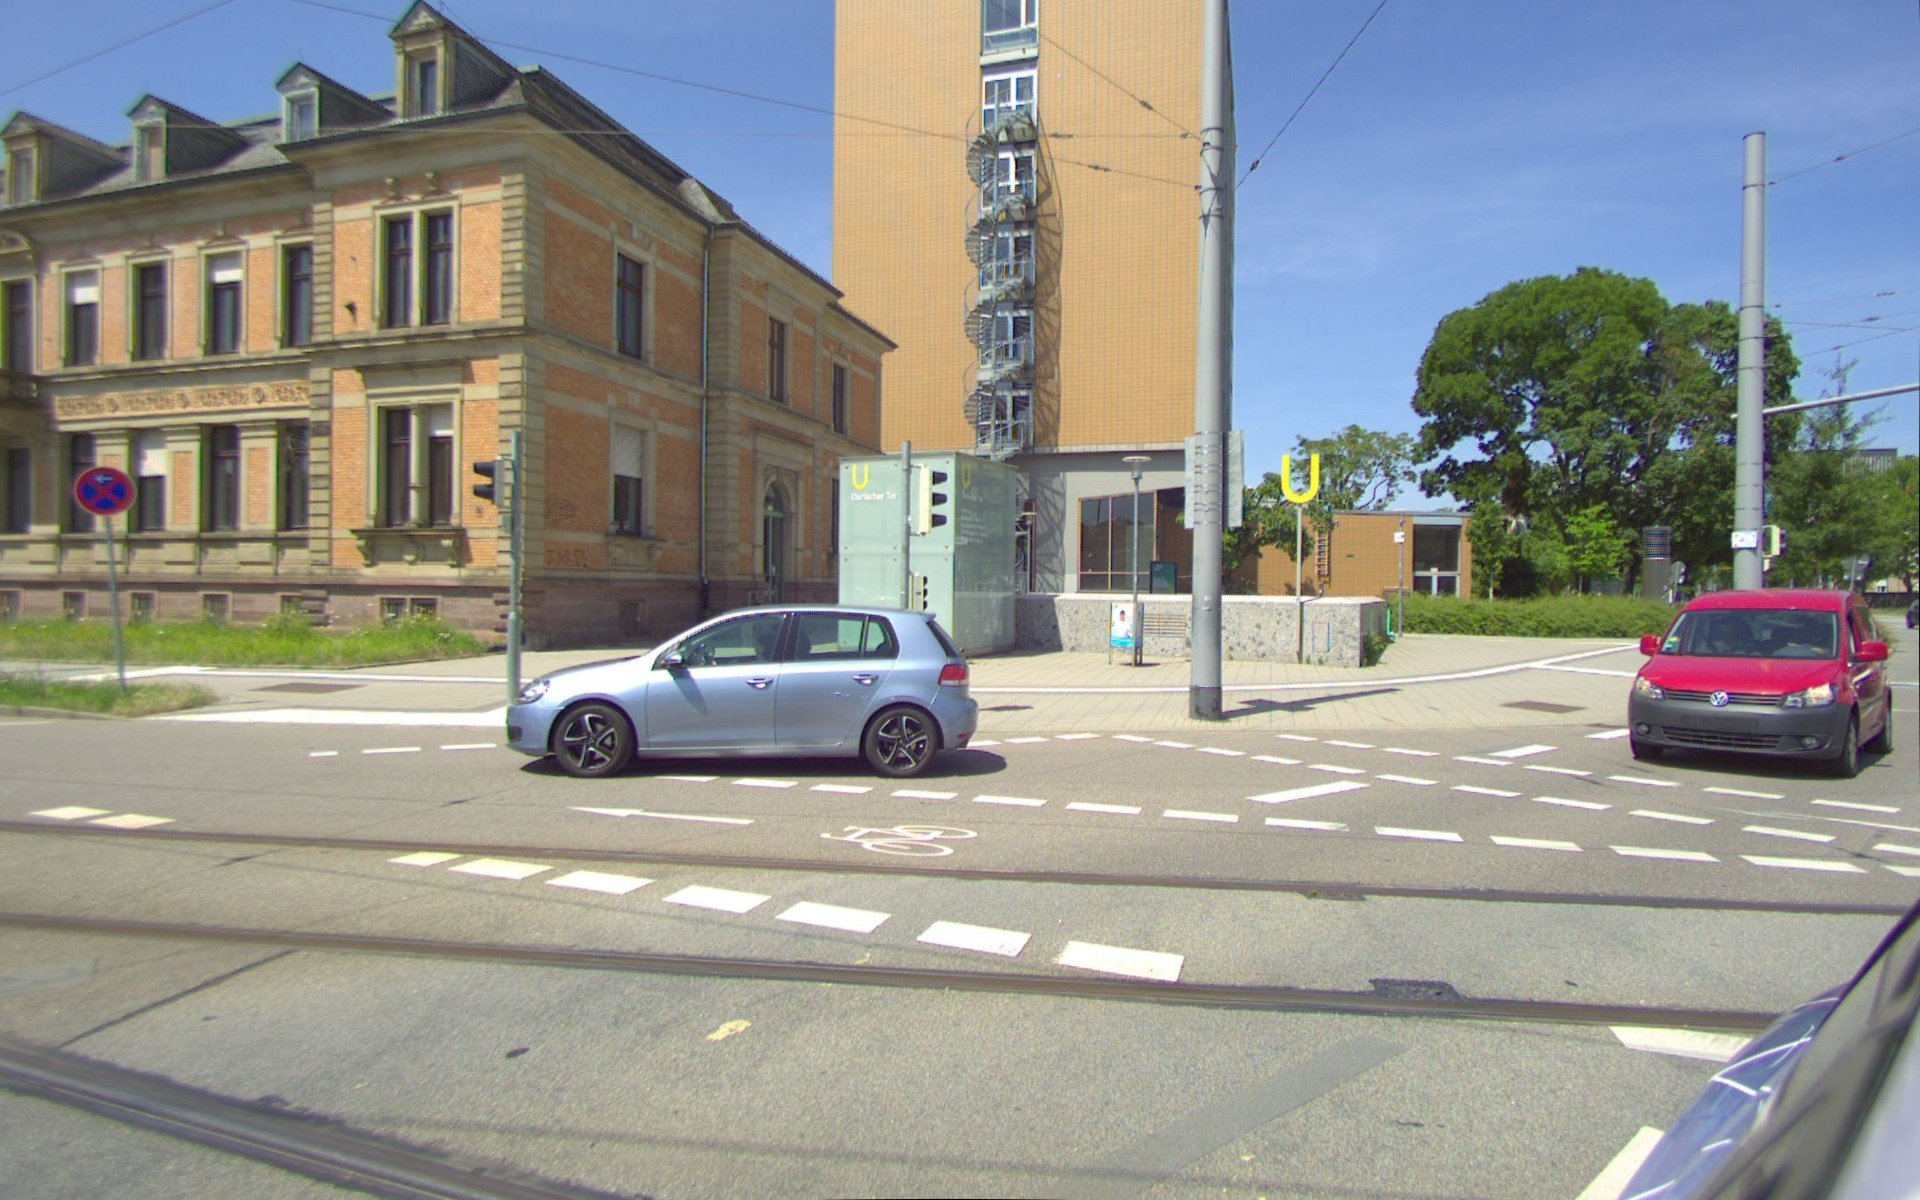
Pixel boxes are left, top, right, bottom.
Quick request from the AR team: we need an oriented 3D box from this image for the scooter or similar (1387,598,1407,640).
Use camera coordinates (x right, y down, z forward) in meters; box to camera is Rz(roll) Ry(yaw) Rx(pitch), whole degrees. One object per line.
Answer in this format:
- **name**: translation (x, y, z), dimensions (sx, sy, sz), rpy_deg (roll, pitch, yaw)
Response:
- **scooter or similar**: translation (12.849, 0.550, 29.746), dimensions (0.454, 1.185, 1.239), rpy_deg (0, 0, 27)

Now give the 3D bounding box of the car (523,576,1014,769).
- **car**: translation (-1.600, 0.583, 9.055), dimensions (3.923, 1.478, 1.658), rpy_deg (-1, -1, -6)

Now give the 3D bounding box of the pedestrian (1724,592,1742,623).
- **pedestrian**: translation (46.043, 0.450, 60.290), dimensions (0.603, 1.821, 0.728), rpy_deg (0, 0, -42)

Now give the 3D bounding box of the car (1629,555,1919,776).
- **car**: translation (8.772, 0.556, 10.751), dimensions (4.467, 1.882, 1.653), rpy_deg (0, -1, -41)

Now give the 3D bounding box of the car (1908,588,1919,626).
- **car**: translation (53.450, 0.395, 54.906), dimensions (1.982, 2.039, 3.959), rpy_deg (0, 0, 29)
